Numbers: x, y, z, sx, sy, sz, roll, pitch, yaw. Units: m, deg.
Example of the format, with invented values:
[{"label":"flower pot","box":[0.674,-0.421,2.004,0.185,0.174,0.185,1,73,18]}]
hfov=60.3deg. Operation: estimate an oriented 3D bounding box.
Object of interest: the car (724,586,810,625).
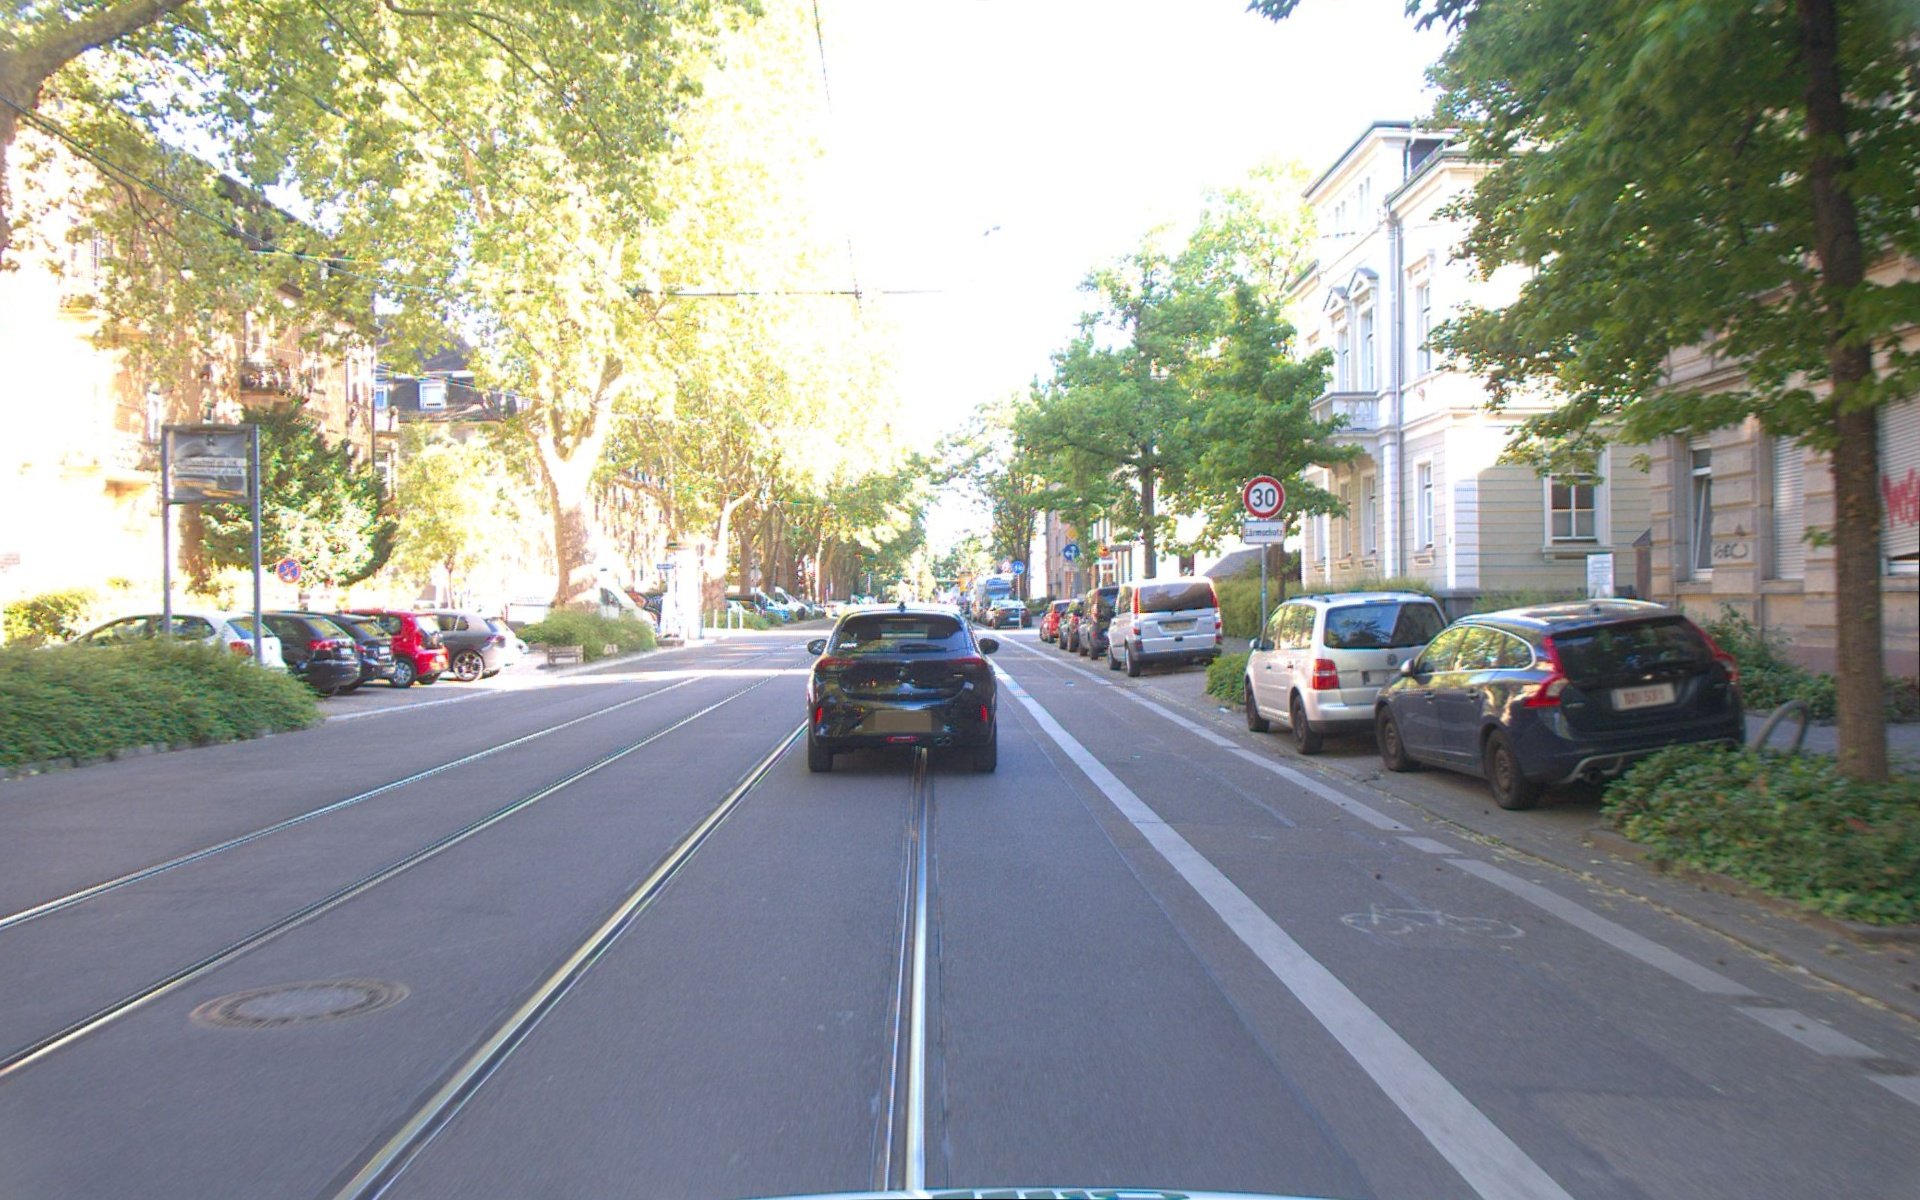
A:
[{"label":"car","box":[-13.220,0.393,113.359,5.521,2.638,2.197,0,0,2]}]

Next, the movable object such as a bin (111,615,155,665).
[{"label":"movable object such as a bin","box":[-18.793,0.897,37.607,0.709,1.129,0.543,0,0,0]}]

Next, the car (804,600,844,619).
[{"label":"car","box":[-14.466,1.014,176.151,3.902,2.049,2.001,0,0,5]}]

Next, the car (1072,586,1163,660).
[{"label":"car","box":[4.108,0.579,43.737,1.847,1.797,4.677,-1,0,-1]}]

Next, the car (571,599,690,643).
[{"label":"car","box":[-12.576,0.791,63.351,4.214,1.635,1.924,0,0,-4]}]

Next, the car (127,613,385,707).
[{"label":"car","box":[-11.578,0.973,27.356,3.527,1.490,1.687,0,0,1]}]

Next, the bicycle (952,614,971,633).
[{"label":"bicycle","box":[0.050,1.294,92.356,0.948,1.016,2.582,0,0,-2]}]

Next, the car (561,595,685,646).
[{"label":"car","box":[-12.336,0.741,60.736,4.214,1.833,1.924,0,0,-4]}]

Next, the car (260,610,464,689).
[{"label":"car","box":[-11.706,0.951,32.513,3.349,1.490,1.759,0,0,1]}]

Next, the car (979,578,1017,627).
[{"label":"car","box":[2.282,0.133,101.611,2.043,2.820,4.696,-2,0,-1]}]

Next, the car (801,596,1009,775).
[{"label":"car","box":[-0.486,0.722,15.774,1.727,1.486,3.949,0,0,-1]}]

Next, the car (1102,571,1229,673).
[{"label":"car","box":[4.202,0.435,34.601,1.846,1.883,4.966,-3,0,-1]}]

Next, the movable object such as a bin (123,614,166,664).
[{"label":"movable object such as a bin","box":[-18.816,0.901,38.186,0.708,1.129,0.560,0,0,0]}]

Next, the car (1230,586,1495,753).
[{"label":"car","box":[4.438,0.712,18.906,1.846,1.595,4.241,-3,0,-1]}]

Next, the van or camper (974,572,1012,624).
[{"label":"van or camper","box":[2.126,-0.125,108.174,2.208,3.272,5.529,-2,0,-1]}]

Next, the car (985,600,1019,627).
[{"label":"car","box":[2.380,0.783,94.406,1.767,1.459,3.998,-2,-1,-1]}]

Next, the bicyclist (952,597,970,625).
[{"label":"bicyclist","box":[0.046,0.610,92.345,0.939,1.525,1.093,0,0,-3]}]

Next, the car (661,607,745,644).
[{"label":"car","box":[-13.434,1.335,86.590,4.221,1.621,1.779,-4,0,-9]}]

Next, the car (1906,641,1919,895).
[{"label":"car","box":[4.892,0.806,4.782,1.846,1.391,4.106,-3,0,-1]}]

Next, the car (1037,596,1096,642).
[{"label":"car","box":[3.723,0.668,58.274,1.668,1.448,3.977,-4,0,-1]}]

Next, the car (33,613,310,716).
[{"label":"car","box":[-11.848,0.948,24.989,3.349,1.490,1.697,0,0,1]}]

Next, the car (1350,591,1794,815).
[{"label":"car","box":[4.923,0.744,14.114,1.846,1.492,4.591,-3,0,-3]}]

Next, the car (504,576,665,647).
[{"label":"car","box":[-12.391,0.382,54.823,4.934,2.299,2.084,0,0,-5]}]

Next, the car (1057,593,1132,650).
[{"label":"car","box":[3.978,0.627,49.509,1.678,1.540,4.034,-3,0,-2]}]

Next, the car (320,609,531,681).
[{"label":"car","box":[-11.363,0.946,35.369,3.906,1.490,1.853,0,0,-2]}]

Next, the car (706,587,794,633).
[{"label":"car","box":[-12.739,0.596,100.654,4.935,2.415,2.081,-4,0,-1]}]

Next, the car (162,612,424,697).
[{"label":"car","box":[-12.068,0.970,30.102,3.998,1.490,1.821,0,0,1]}]

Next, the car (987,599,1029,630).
[{"label":"car","box":[2.428,0.730,84.159,1.846,1.459,4.529,-3,0,-1]}]
